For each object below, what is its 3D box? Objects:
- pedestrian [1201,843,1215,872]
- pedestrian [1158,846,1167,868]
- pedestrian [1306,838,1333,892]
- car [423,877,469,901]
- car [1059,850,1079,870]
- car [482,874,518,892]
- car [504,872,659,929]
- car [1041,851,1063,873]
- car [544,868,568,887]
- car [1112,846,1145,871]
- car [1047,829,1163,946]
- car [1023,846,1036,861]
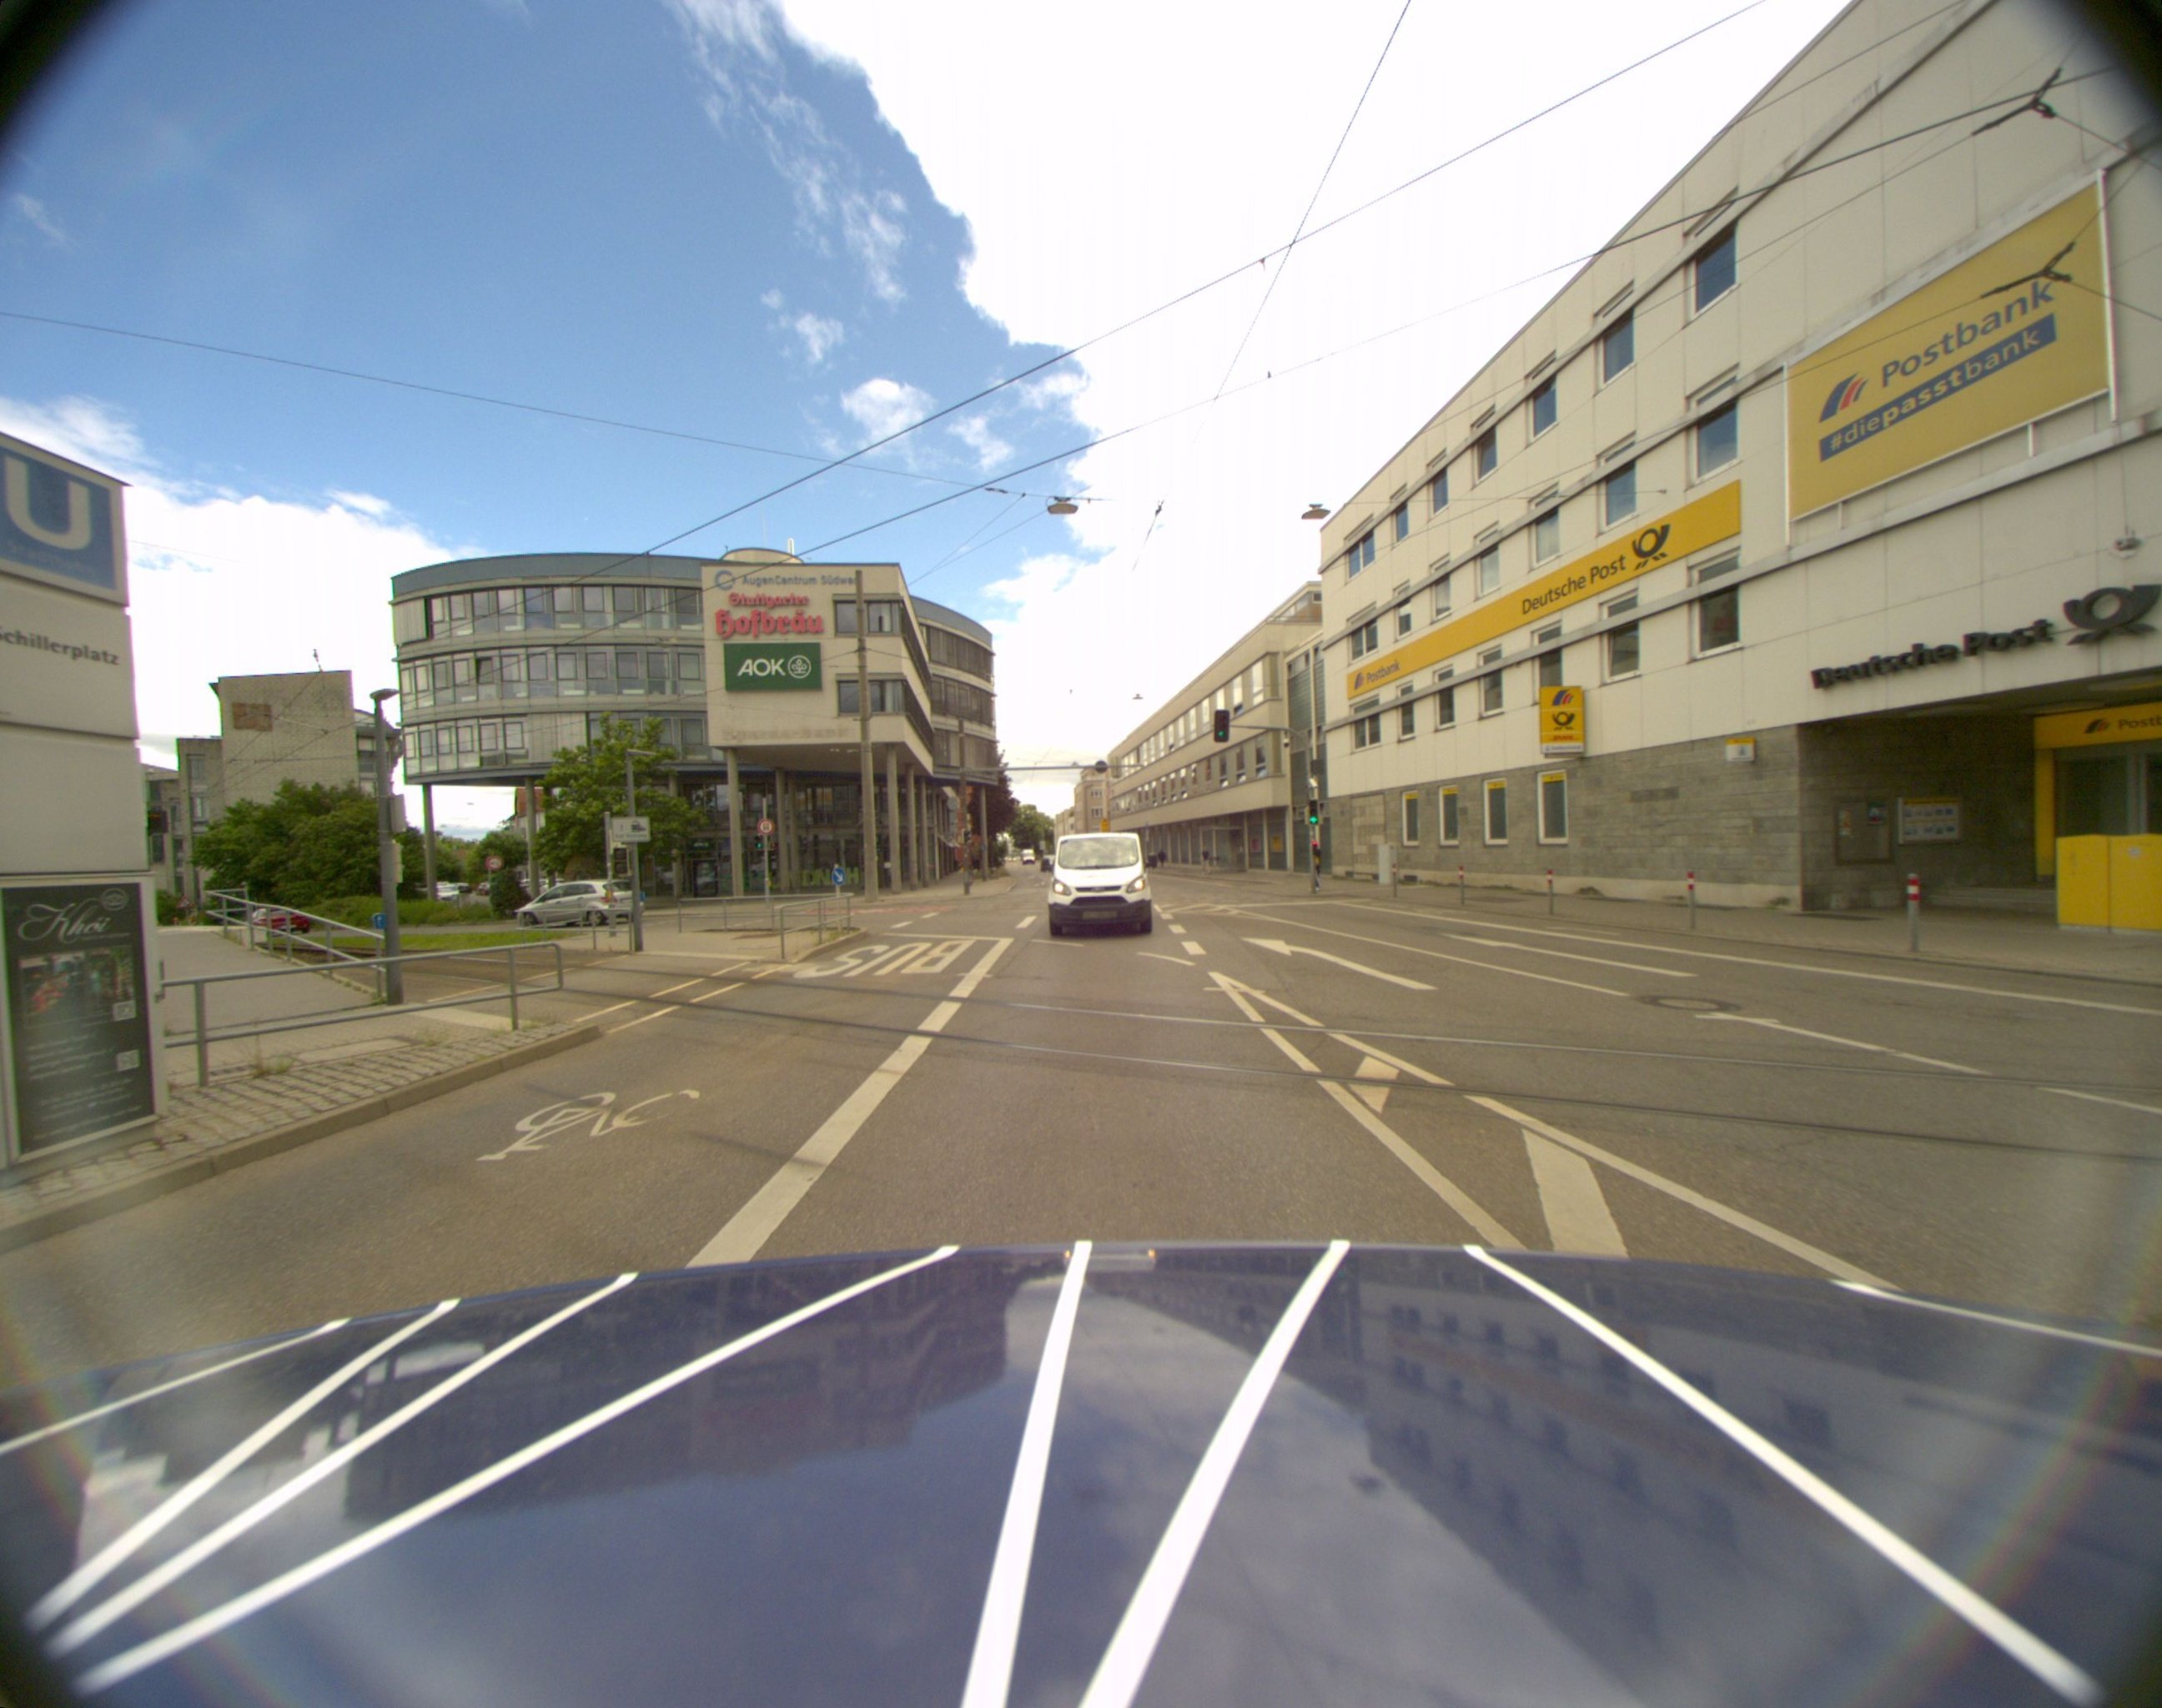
[{"bbox_3d":[7.863,0.213,47.071,0.588,1.793,0.526,-6,1,-6],"label":"pedestrian"},{"bbox_3d":[7.008,0.271,65.376,0.588,1.793,0.526,-6,1,-6],"label":"pedestrian"},{"bbox_3d":[8.211,0.377,26.195,0.588,1.793,0.526,-6,1,-6],"label":"pedestrian"},{"bbox_3d":[-51.483,2.857,61.590,4.307,1.700,2.004,-3,1,40],"label":"car"},{"bbox_3d":[-1.367,0.648,82.856,1.999,2.002,4.485,-3,0,-2],"label":"car"},{"bbox_3d":[-62.285,3.079,81.414,4.307,1.700,2.004,-3,1,40],"label":"car"},{"bbox_3d":[-17.484,1.608,26.688,4.312,1.700,2.001,-3,1,12],"label":"car"},{"bbox_3d":[-2.800,0.752,73.701,1.999,2.002,4.485,-3,0,-2],"label":"car"},{"bbox_3d":[-74.606,3.339,107.869,2.004,2.401,4.475,-4,1,-44],"label":"car"},{"bbox_3d":[4.169,0.412,67.353,2.000,2.002,4.483,-3,0,-8],"label":"car"},{"bbox_3d":[0.333,0.591,16.175,1.999,2.002,4.997,-3,0,-2],"label":"car"},{"bbox_3d":[-8.852,-0.037,130.929,1.999,2.401,4.484,-3,0,-6],"label":"car"}]
